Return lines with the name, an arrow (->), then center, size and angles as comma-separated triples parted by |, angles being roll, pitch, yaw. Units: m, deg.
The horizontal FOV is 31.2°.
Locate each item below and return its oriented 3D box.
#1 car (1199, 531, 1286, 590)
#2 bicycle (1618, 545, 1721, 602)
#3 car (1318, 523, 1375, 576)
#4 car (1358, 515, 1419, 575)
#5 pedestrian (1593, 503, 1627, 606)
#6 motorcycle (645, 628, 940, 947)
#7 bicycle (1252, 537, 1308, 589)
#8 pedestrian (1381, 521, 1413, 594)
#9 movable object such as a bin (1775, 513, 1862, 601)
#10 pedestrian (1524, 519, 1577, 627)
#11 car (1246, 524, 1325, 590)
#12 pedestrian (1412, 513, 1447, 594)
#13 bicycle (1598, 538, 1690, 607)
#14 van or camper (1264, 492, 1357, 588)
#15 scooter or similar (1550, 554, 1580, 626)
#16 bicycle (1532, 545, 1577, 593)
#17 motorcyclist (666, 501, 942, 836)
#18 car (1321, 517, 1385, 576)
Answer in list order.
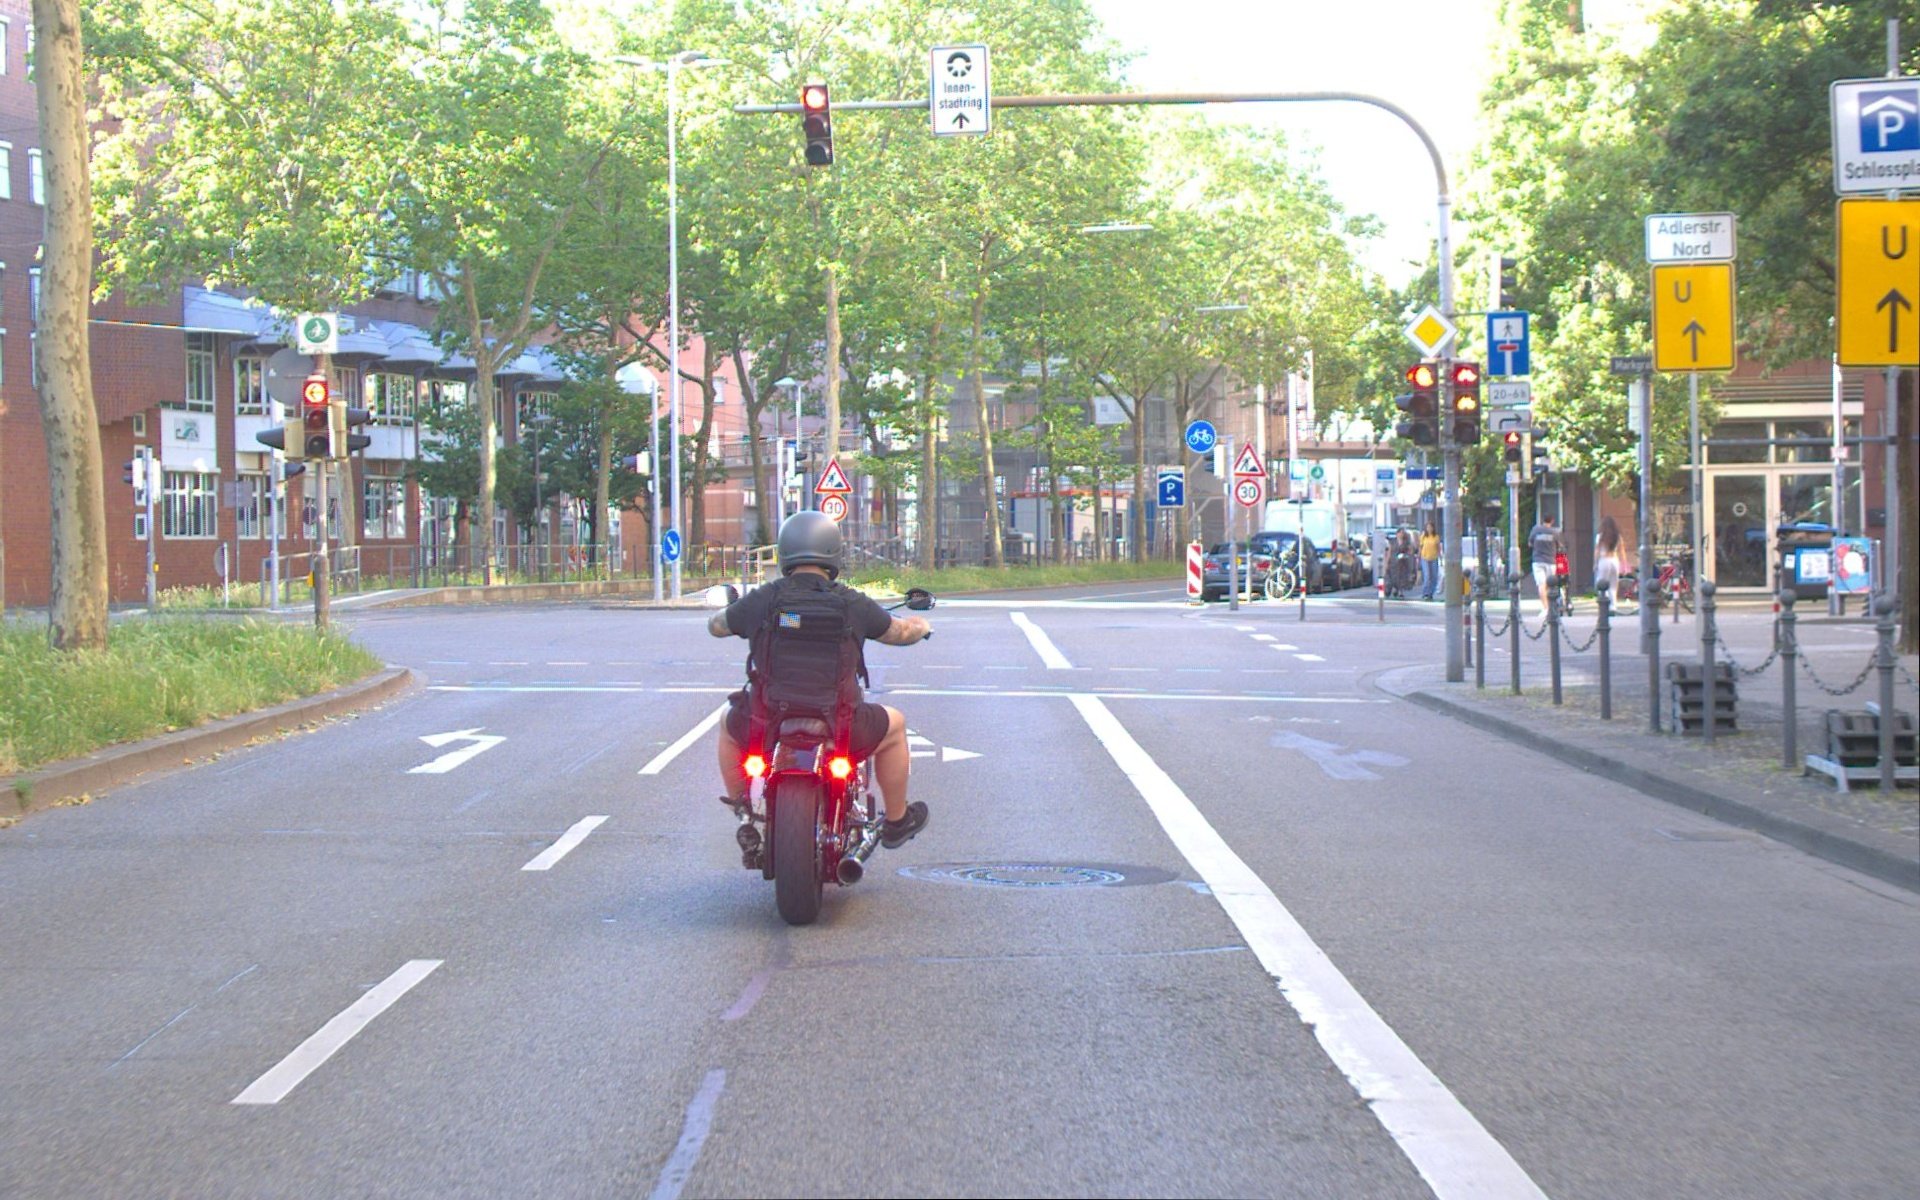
car -> 6.416, -0.912, 77.733 | 1.621, 1.298, 4.310 | 0, 1, 9
bicycle -> 13.314, -0.503, 64.552 | 1.749, 1.049, 0.738 | 0, 1, 28
car -> 12.038, -1.581, 106.946 | 1.621, 1.604, 3.773 | 0, 1, 9
car -> 14.731, -1.911, 118.075 | 1.836, 2.007, 4.386 | 0, 1, 10
pedestrian -> 10.650, -0.745, 56.356 | 0.459, 1.667, 0.680 | -1, 1, 4
motorcycle -> -0.618, 0.693, 13.534 | 1.018, 1.093, 2.008 | 0, 1, 1
bicycle -> 6.576, -0.767, 70.728 | 0.737, 1.049, 1.753 | -1, 1, -8
pedestrian -> 9.462, -0.927, 74.438 | 0.644, 1.573, 0.748 | 0, 1, 4
movable object such as a bin -> 14.684, -0.741, 58.850 | 1.410, 1.477, 0.871 | 0, 1, 12
pedestrian -> 9.697, -0.454, 56.465 | 0.786, 1.757, 0.610 | -1, 1, 3
car -> 8.314, -1.115, 87.591 | 1.621, 1.614, 4.483 | 0, 1, 10
pedestrian -> 10.127, -1.011, 74.201 | 0.700, 1.727, 0.767 | 0, 1, 4
bicycle -> 12.260, -0.494, 61.608 | 1.567, 1.223, 0.577 | 0, 1, 7
van or camper -> 9.613, -1.642, 93.963 | 2.050, 2.532, 5.770 | 0, 1, 11
scooter or similar -> 9.952, -0.170, 56.543 | 0.394, 1.154, 1.249 | -1, 1, 6
bicycle -> 12.099, -0.633, 69.976 | 0.737, 0.936, 1.752 | 0, 1, 5
motorcyclist -> -0.604, 0.253, 13.608 | 1.011, 1.258, 0.774 | 2, 1, 1
car -> 12.787, -1.750, 111.625 | 1.621, 1.859, 3.772 | 0, 1, 13
